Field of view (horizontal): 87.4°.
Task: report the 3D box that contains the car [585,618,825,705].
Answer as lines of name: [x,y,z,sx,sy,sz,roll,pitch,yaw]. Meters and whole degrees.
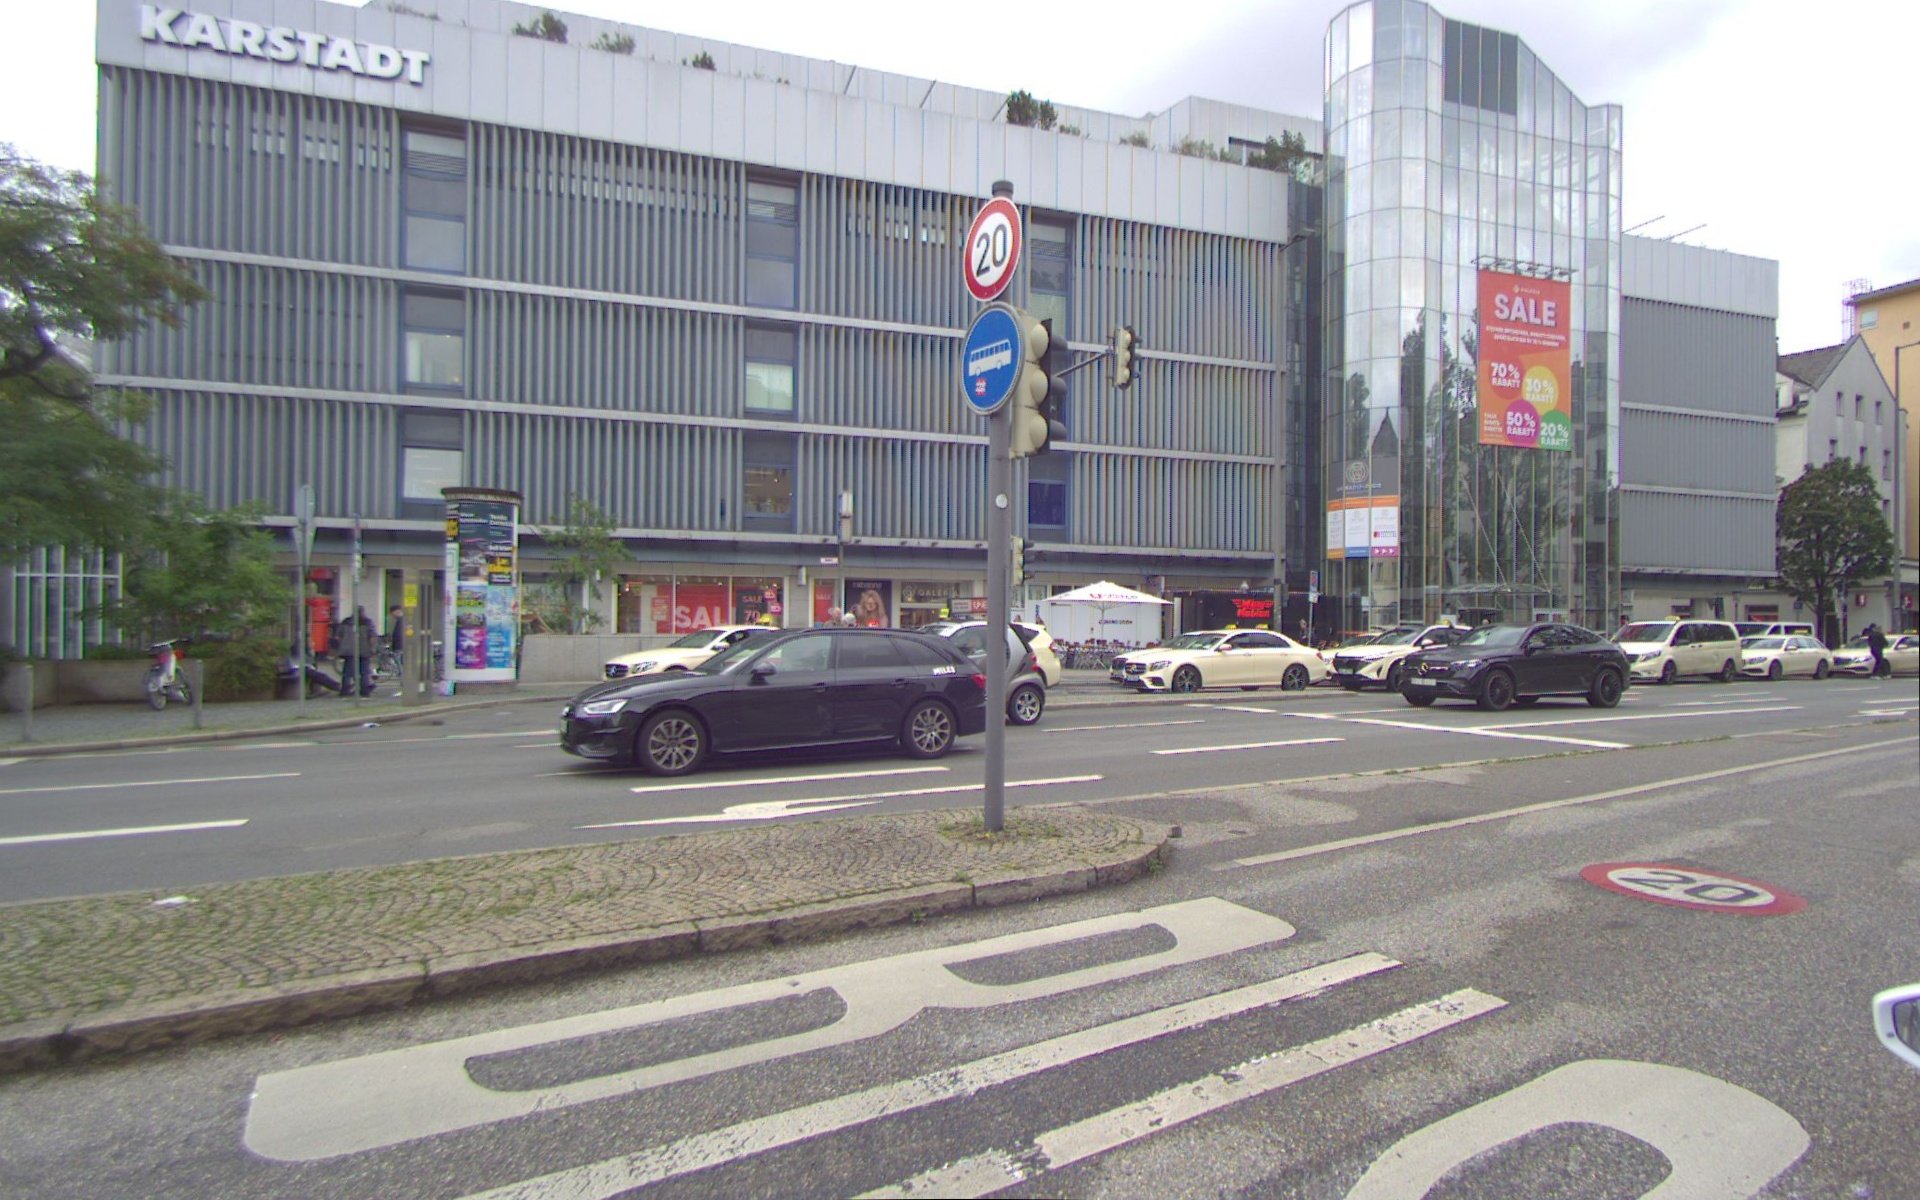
car: [-5.076,1.165,20.429,1.972,1.556,4.389,-1,-2,43]

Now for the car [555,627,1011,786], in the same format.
car: [-1.845,1.007,10.908,4.546,1.401,1.836,1,-1,-30]

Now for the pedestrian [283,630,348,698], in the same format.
pedestrian: [-12.545,1.224,19.577,1.032,1.292,0.542,1,-1,-30]

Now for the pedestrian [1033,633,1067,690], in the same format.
pedestrian: [2.202,1.493,24.545,0.654,1.371,0.545,1,-1,-27]

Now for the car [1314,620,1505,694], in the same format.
car: [11.147,1.369,24.973,4.117,1.701,1.992,1,-1,-18]

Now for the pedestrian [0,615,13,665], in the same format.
pedestrian: [-27.932,1.147,29.043,0.600,1.431,0.591,1,-1,-19]

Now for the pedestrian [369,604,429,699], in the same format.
pedestrian: [-10.927,0.993,19.557,0.739,1.796,0.770,0,-1,36]

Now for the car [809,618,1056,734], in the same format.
car: [-0.407,1.065,15.025,3.340,1.572,1.619,1,-1,-27]

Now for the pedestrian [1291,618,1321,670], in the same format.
pedestrian: [11.568,1.463,33.623,0.700,1.714,0.651,1,-1,-18]

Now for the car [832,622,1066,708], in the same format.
car: [-0.182,1.224,20.094,4.341,1.563,1.892,1,-1,-31]

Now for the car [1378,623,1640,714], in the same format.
car: [10.341,1.220,18.936,4.522,1.554,1.989,1,-1,-23]

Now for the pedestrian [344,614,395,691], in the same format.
pedestrian: [-12.495,1.092,21.261,0.762,1.575,0.747,-1,-1,44]

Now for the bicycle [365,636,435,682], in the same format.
bicycle: [-14.971,1.536,26.975,0.774,1.114,3.431,0,-1,-14]

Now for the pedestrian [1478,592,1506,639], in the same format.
pedestrian: [20.544,0.594,38.796,0.661,1.745,0.650,1,1,-21]

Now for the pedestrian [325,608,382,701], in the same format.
pedestrian: [-11.171,0.993,18.525,0.740,1.676,0.769,0,-1,-20]

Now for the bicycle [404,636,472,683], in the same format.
bicycle: [-13.972,1.558,27.019,0.791,1.114,3.672,0,-1,-14]

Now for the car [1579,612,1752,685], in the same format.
car: [21.402,1.419,30.441,5.451,2.040,1.986,1,-1,-27]

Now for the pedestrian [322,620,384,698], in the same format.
pedestrian: [-12.115,1.153,20.050,0.737,1.513,0.772,0,-1,25]

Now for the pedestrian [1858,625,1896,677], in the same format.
pedestrian: [30.248,1.671,33.143,0.612,1.720,0.696,0,-1,2]

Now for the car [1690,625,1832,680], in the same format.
car: [26.296,1.674,32.974,4.474,1.677,1.987,1,-1,-27]

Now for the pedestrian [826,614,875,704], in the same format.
pedestrian: [-2.172,1.146,19.837,0.741,1.713,0.768,1,-1,-26]

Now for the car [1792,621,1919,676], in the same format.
car: [31.751,1.669,34.955,4.454,1.840,1.995,1,-1,-13]

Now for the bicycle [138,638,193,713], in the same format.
bicycle: [-13.030,1.206,16.499,0.368,1.126,1.568,1,-1,-26]

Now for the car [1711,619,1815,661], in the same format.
car: [36.083,1.766,45.125,4.180,1.795,1.866,1,-1,-22]

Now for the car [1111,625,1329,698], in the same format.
car: [5.940,1.345,22.996,4.567,1.528,1.990,1,-1,-22]

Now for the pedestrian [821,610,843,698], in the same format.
pedestrian: [-2.610,1.091,20.523,0.348,1.783,0.447,0,-1,5]

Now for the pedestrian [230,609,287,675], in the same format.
pedestrian: [-17.371,1.038,24.890,0.962,1.602,0.796,1,-1,-20]

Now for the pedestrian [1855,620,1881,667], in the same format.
pedestrian: [36.097,1.715,39.929,0.618,1.841,0.557,1,-1,-20]
